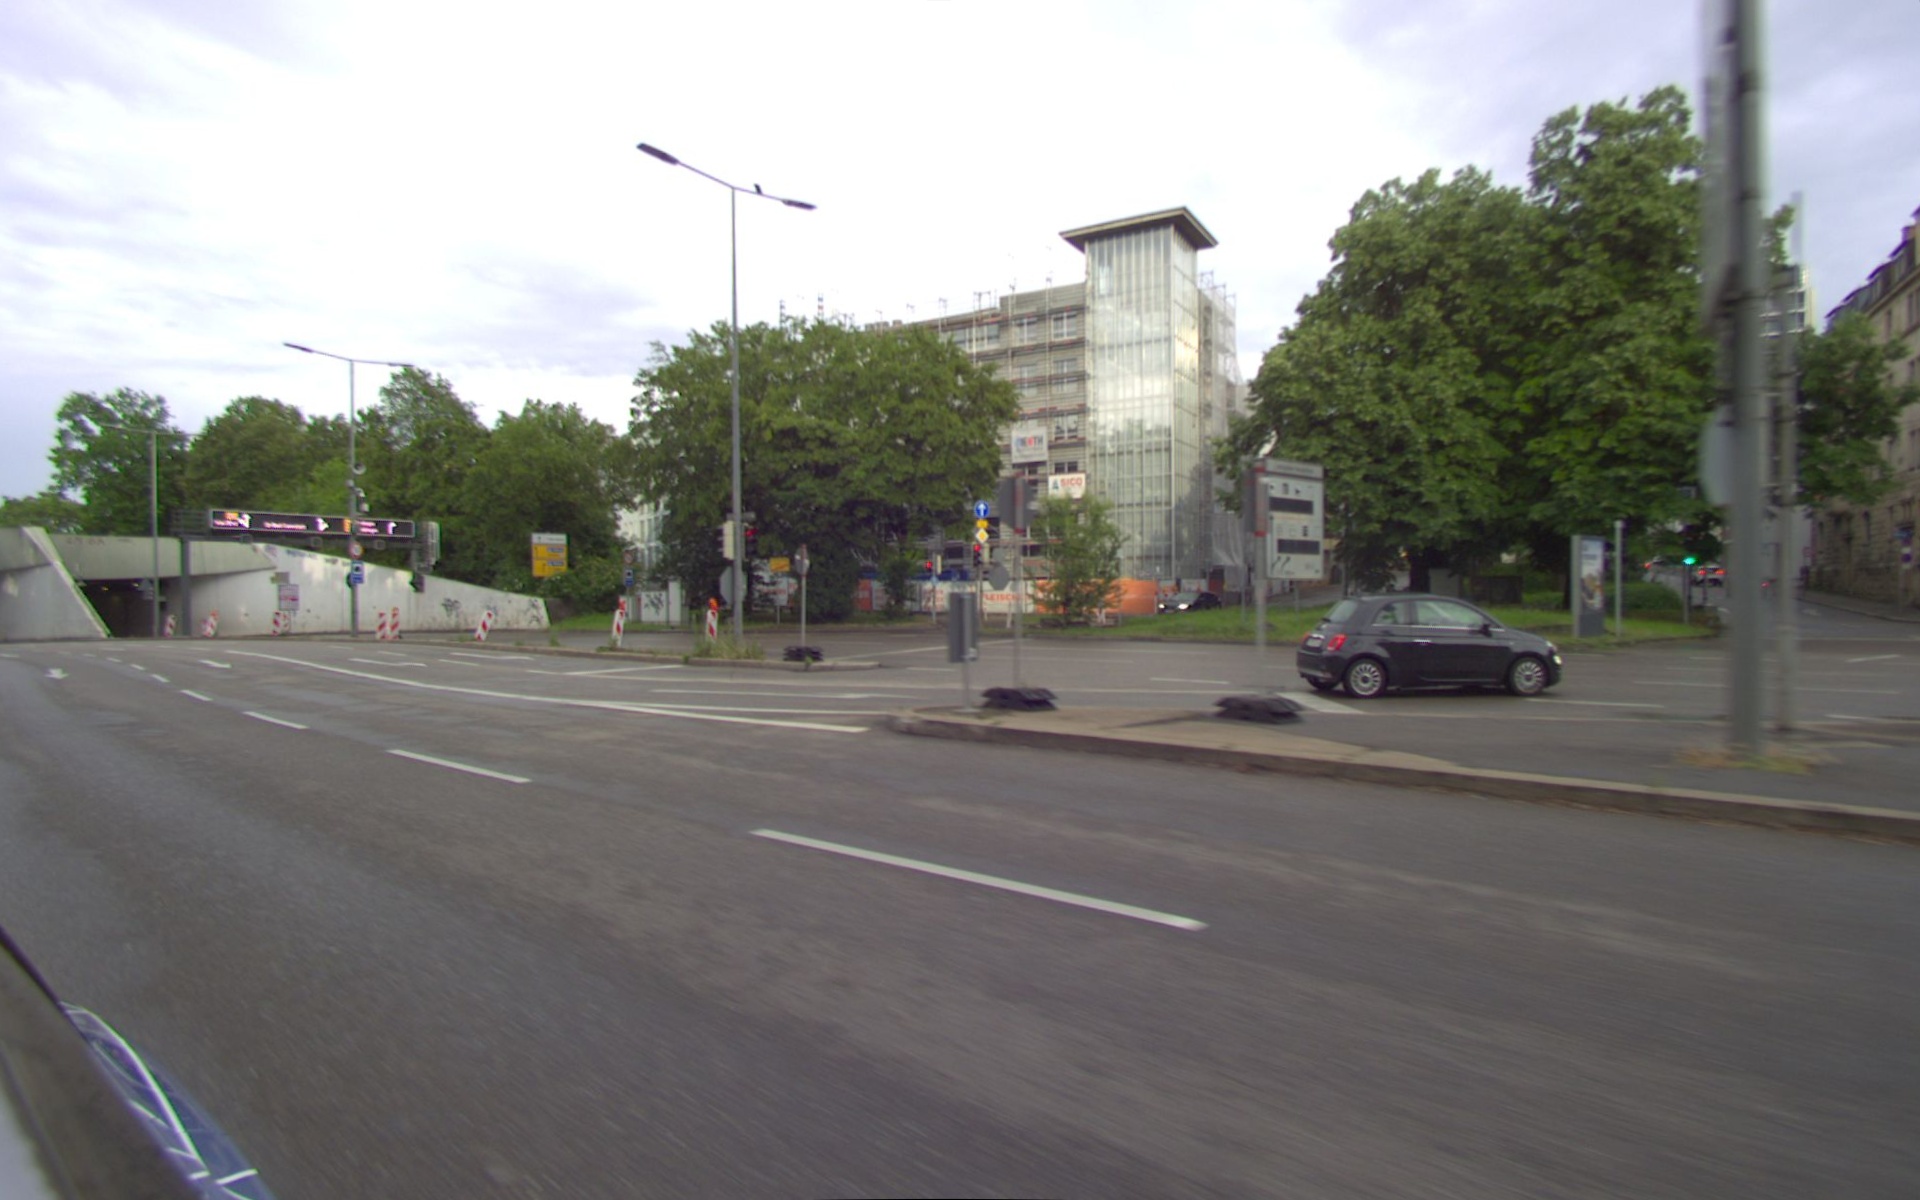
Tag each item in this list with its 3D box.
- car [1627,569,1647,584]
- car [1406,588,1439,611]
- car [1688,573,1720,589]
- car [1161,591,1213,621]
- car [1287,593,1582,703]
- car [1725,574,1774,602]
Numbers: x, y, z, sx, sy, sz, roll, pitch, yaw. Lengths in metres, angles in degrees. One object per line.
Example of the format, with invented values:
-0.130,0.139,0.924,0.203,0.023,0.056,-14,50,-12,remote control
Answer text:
76.567,-2.649,114.469,1.585,1.670,3.468,-1,0,30,car
36.864,-0.061,80.560,1.804,1.638,3.956,-2,1,33,car
58.028,-1.444,78.935,1.585,1.173,3.468,-1,0,30,car
11.349,0.299,50.504,1.465,1.299,3.678,-2,1,30,car
6.725,0.660,14.594,3.455,1.452,1.591,-1,0,1,car
48.594,-0.737,62.341,1.870,1.670,3.468,-1,0,30,car
